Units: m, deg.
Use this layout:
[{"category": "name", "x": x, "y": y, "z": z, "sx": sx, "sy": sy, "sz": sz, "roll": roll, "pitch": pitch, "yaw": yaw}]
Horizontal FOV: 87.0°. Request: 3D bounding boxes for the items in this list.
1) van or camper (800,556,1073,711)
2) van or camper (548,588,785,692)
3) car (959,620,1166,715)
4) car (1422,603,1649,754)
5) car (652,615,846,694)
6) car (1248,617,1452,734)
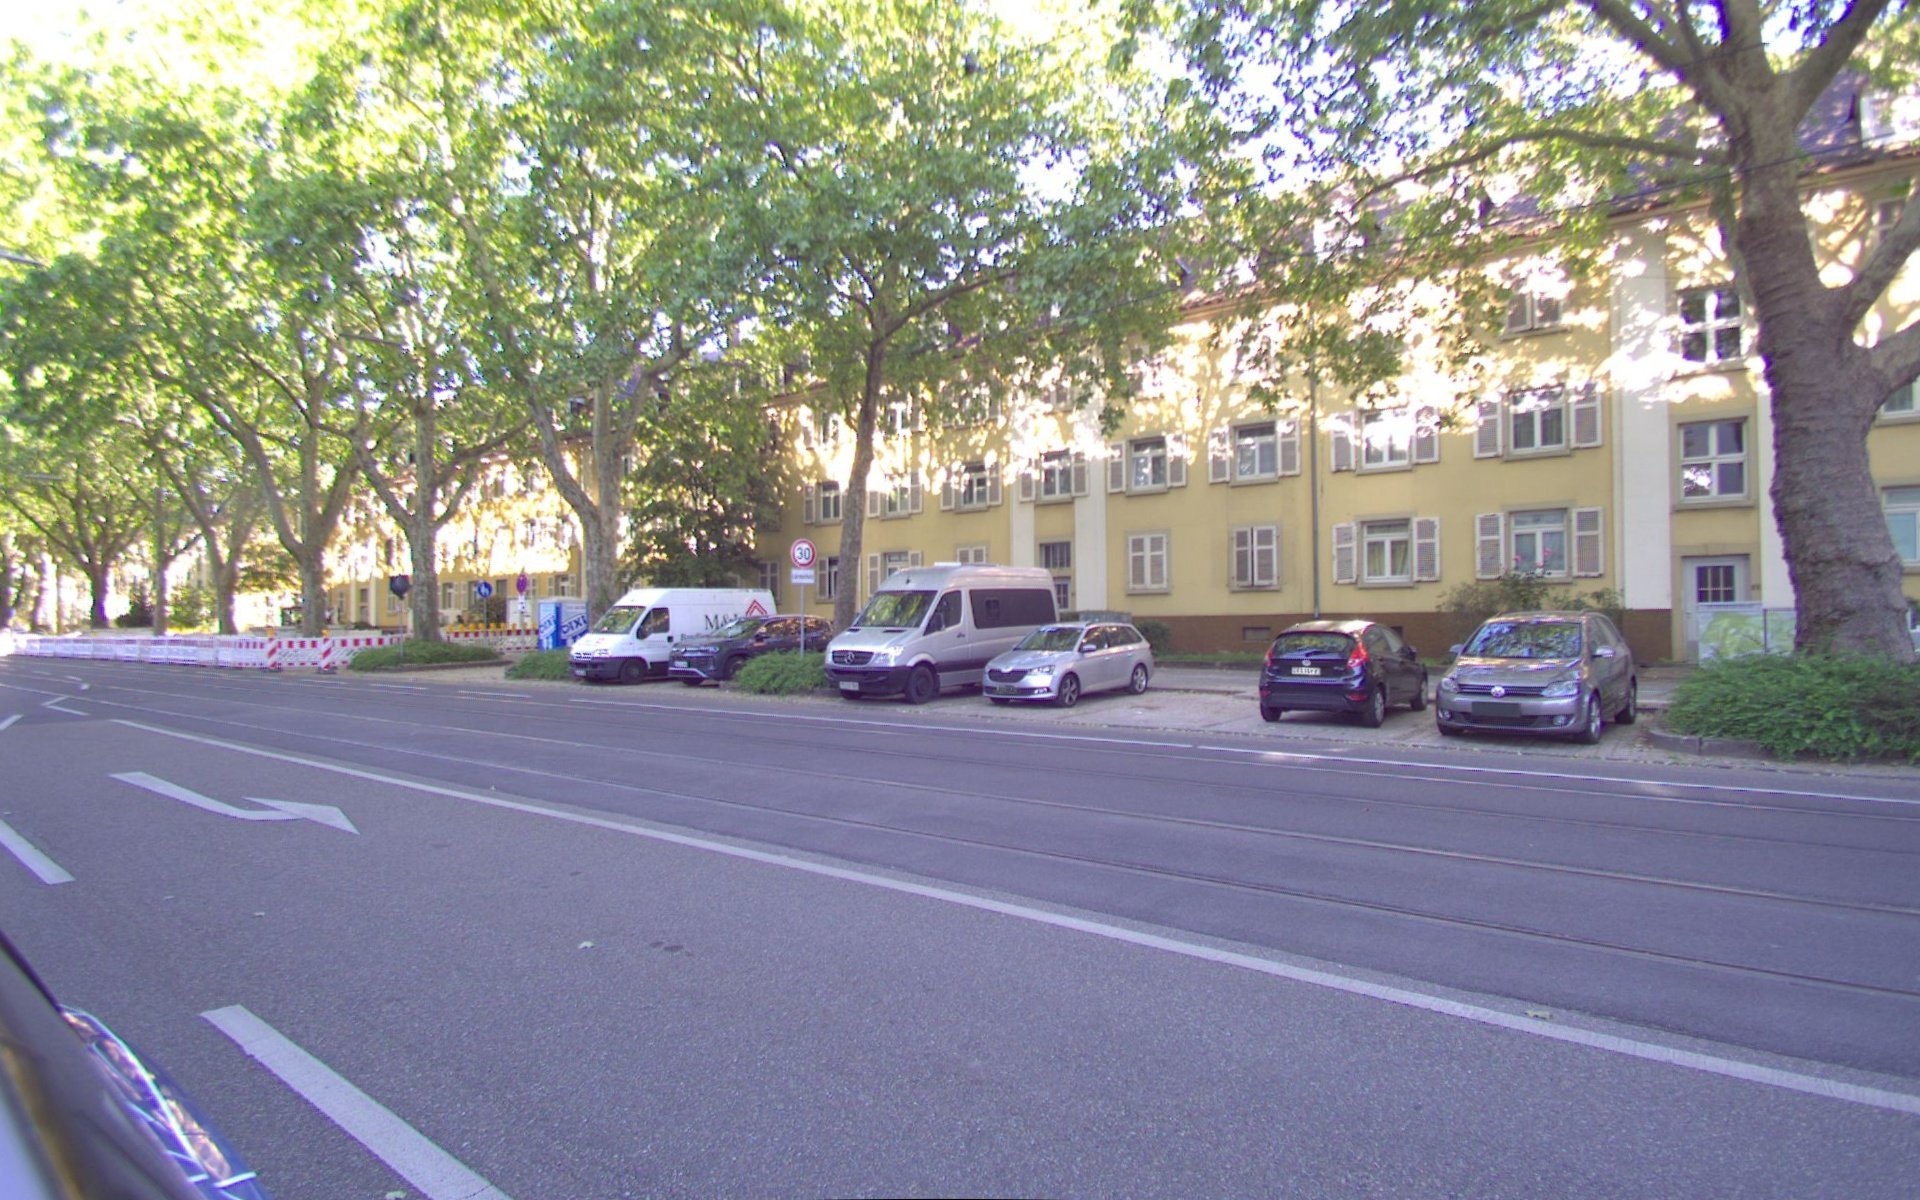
[{"category": "van or camper", "x": -0.261, "y": 0.567, "z": 20.339, "sx": 2.154, "sy": 2.668, "sz": 5.857, "roll": -1, "pitch": 0, "yaw": 40}, {"category": "van or camper", "x": -7.459, "y": 0.920, "z": 26.330, "sx": 2.154, "sy": 2.403, "sz": 5.690, "roll": -1, "pitch": 0, "yaw": 40}, {"category": "car", "x": 2.008, "y": 1.142, "z": 18.781, "sx": 1.693, "sy": 1.457, "sz": 4.221, "roll": -1, "pitch": 0, "yaw": 41}, {"category": "car", "x": 7.676, "y": 0.882, "z": 13.322, "sx": 1.844, "sy": 1.631, "sz": 4.028, "roll": -1, "pitch": 0, "yaw": 41}, {"category": "car", "x": -4.965, "y": 1.223, "z": 24.335, "sx": 1.693, "sy": 1.645, "sz": 4.481, "roll": -1, "pitch": 0, "yaw": 41}, {"category": "car", "x": 6.021, "y": 1.031, "z": 15.382, "sx": 1.693, "sy": 1.457, "sz": 3.811, "roll": -1, "pitch": 0, "yaw": 41}]
